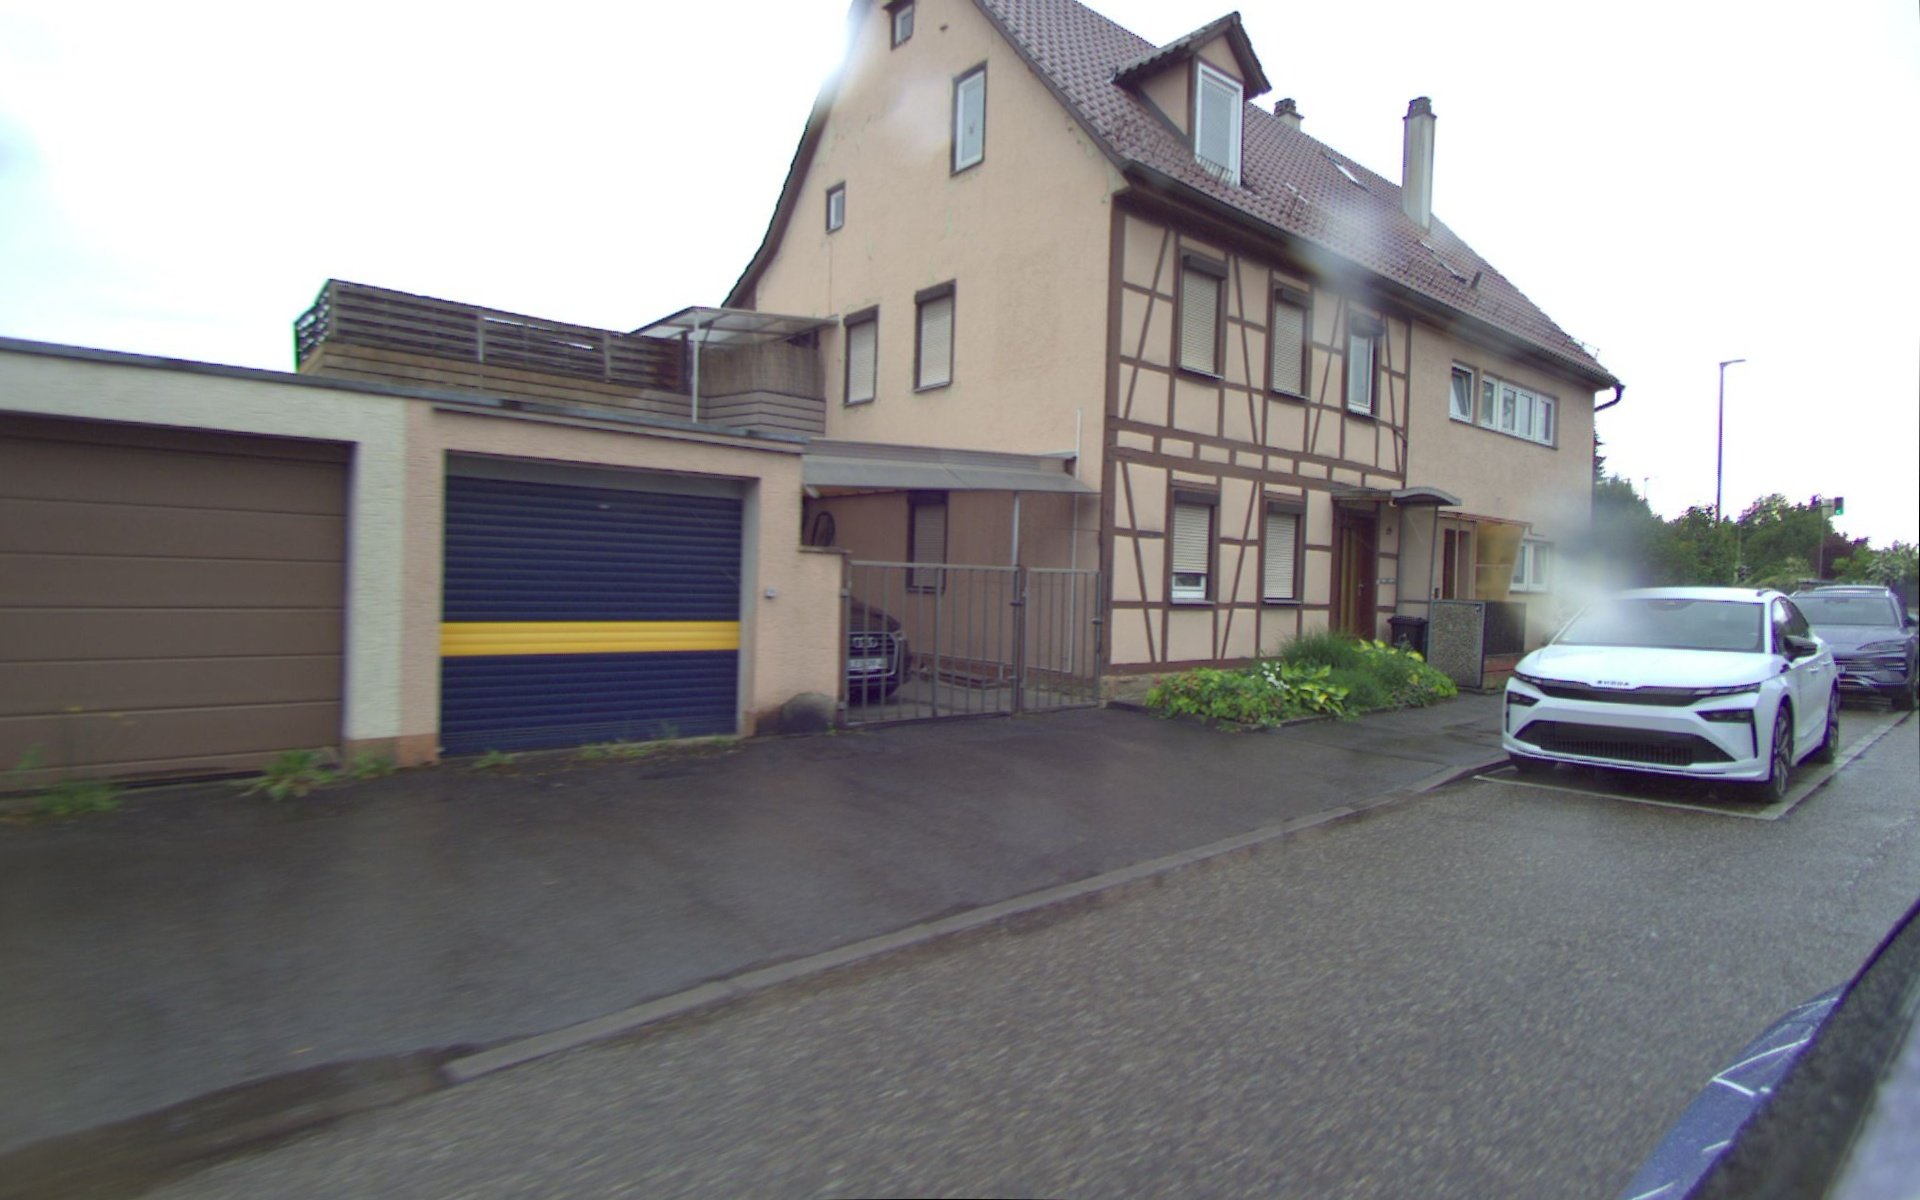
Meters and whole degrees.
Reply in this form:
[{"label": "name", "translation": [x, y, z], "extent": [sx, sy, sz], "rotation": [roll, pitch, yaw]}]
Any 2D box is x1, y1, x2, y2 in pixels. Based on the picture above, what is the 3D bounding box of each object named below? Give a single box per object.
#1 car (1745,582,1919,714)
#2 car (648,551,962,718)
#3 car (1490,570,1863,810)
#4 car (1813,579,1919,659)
[{"label": "car", "translation": [13.606, 0.625, 15.502], "extent": [4.481, 1.739, 1.910], "rotation": [0, 0, -44]}, {"label": "car", "translation": [-1.895, 0.240, 11.352], "extent": [1.774, 1.475, 3.927], "rotation": [0, 3, -38]}, {"label": "car", "translation": [6.544, 0.585, 9.020], "extent": [4.533, 1.615, 1.805], "rotation": [0, 1, -43]}, {"label": "car", "translation": [24.051, 0.432, 26.858], "extent": [1.926, 1.926, 4.728], "rotation": [0, 0, 38]}]
